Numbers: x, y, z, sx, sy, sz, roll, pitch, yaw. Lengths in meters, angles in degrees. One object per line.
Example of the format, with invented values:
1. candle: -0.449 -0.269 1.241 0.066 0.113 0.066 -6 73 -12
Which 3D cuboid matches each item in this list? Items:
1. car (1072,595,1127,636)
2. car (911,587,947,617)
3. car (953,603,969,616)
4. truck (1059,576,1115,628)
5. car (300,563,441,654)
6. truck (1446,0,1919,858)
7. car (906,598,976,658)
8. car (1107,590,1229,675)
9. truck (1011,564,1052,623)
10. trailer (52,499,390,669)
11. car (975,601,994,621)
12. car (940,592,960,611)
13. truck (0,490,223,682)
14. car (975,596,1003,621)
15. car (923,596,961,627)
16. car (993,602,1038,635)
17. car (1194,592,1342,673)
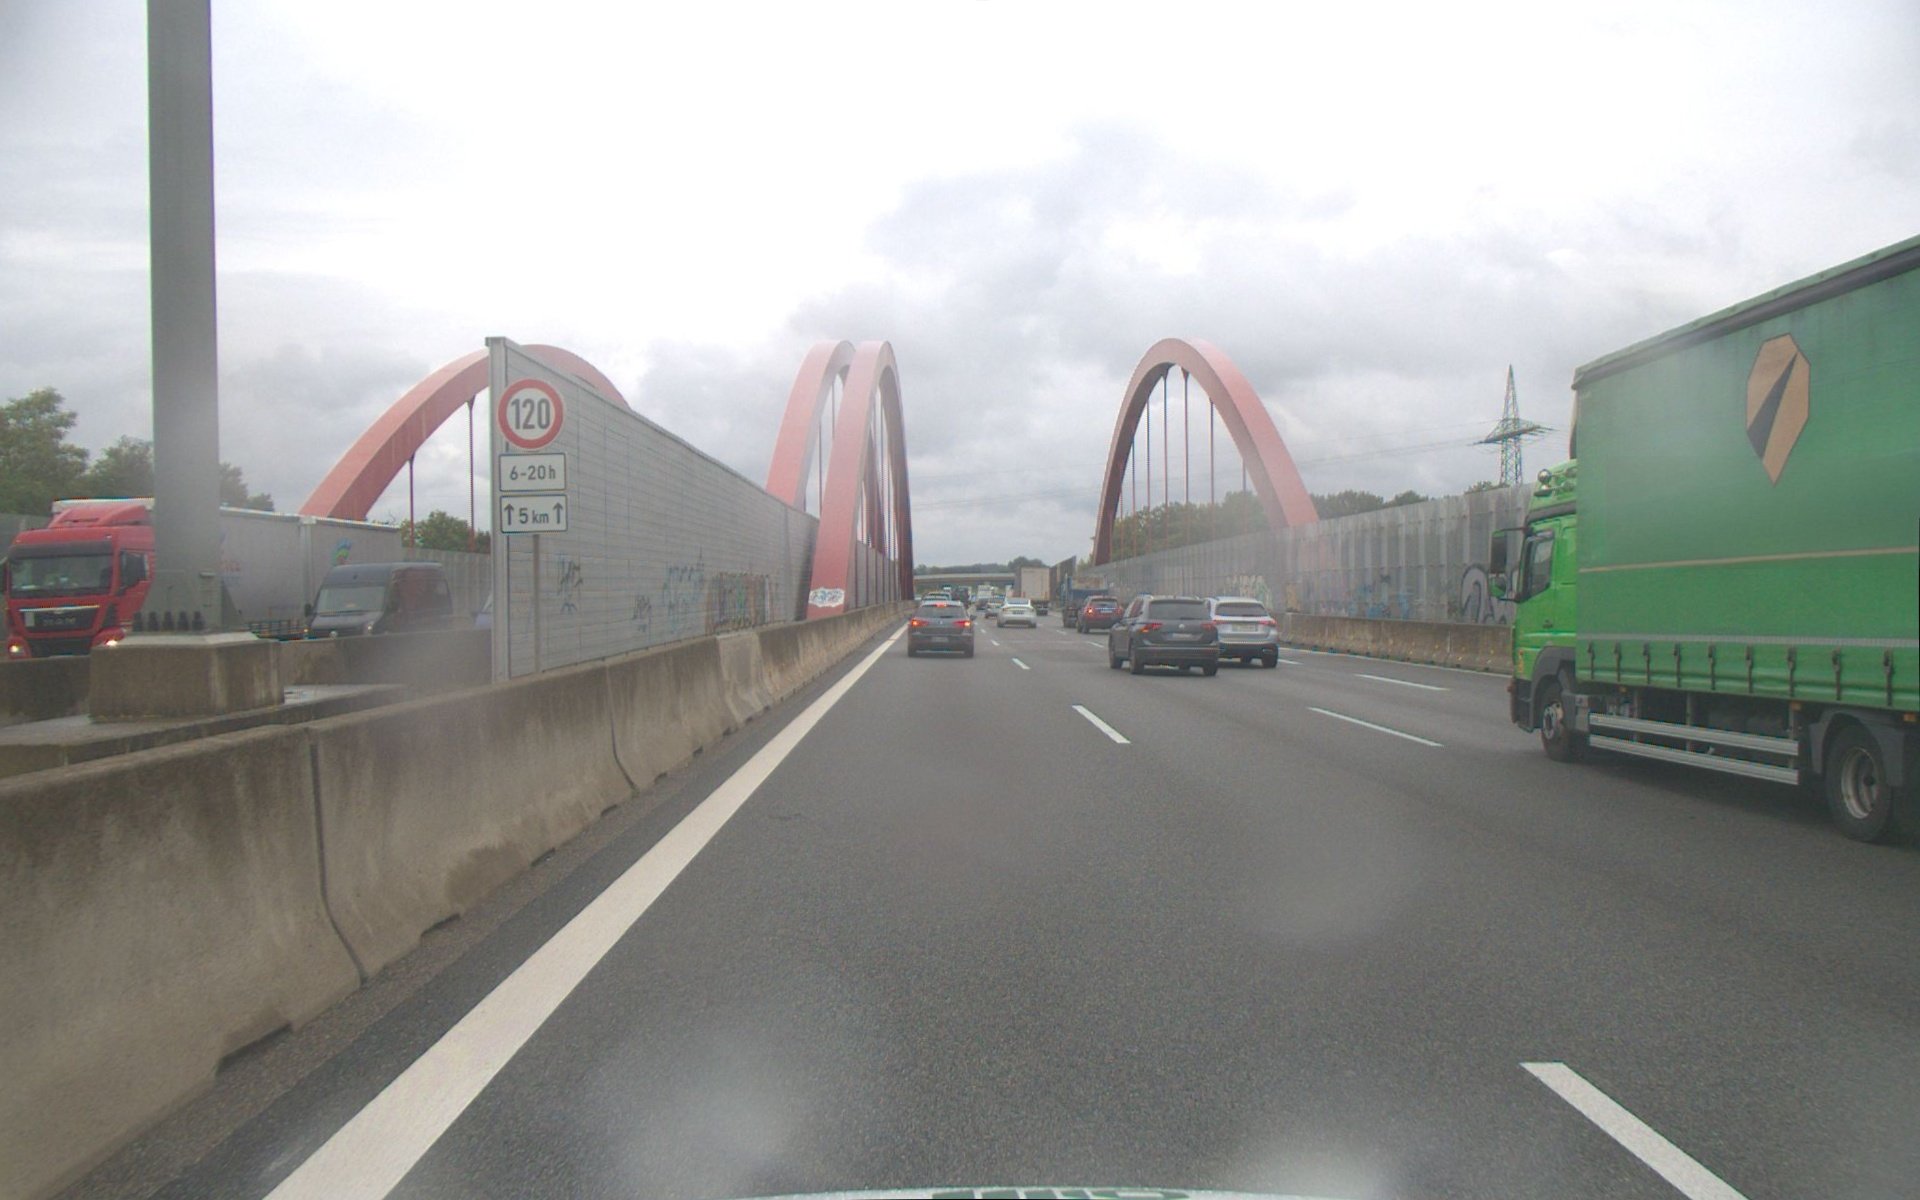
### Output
1. car: 6.014 0.671 71.656 1.918 1.676 3.999 1 0 -2
2. car: -1.734 0.081 91.687 1.953 1.612 3.998 -1 0 -2
3. car: 0.179 1.193 209.726 1.952 1.652 4.001 0 0 1
4. truck: 6.465 0.102 84.867 2.313 2.550 6.143 1 0 -1
5. car: -14.661 0.198 41.417 1.953 2.149 4.530 1 0 -1
6. truck: 7.674 -1.104 13.520 3.916 5.358 11.217 1 0 -1
7. car: -0.488 0.703 43.167 1.728 1.478 3.999 1 0 -1
8. car: 4.367 0.658 35.242 1.874 1.699 4.101 0 0 -3
9. truck: 6.016 -0.532 140.213 2.982 4.817 7.678 1 0 -1
10. trailer: -19.033 -0.381 44.271 2.924 3.794 14.304 1 0 -1
11. car: 2.611 1.148 178.257 1.953 2.049 3.999 1 0 -1
12. car: -1.057 0.176 167.373 1.953 1.847 3.999 1 0 -1
13. truck: -18.814 -0.289 36.046 2.924 3.819 5.915 1 0 -1
14. car: 1.886 0.534 108.588 1.667 1.570 3.838 0 0 -1
15. car: -0.889 0.528 79.683 1.746 1.431 3.625 0 0 -2
16. car: 2.686 0.878 80.745 1.953 1.512 3.999 0 0 -2
17. car: 6.808 0.675 37.185 1.954 1.647 5.323 1 0 -4
